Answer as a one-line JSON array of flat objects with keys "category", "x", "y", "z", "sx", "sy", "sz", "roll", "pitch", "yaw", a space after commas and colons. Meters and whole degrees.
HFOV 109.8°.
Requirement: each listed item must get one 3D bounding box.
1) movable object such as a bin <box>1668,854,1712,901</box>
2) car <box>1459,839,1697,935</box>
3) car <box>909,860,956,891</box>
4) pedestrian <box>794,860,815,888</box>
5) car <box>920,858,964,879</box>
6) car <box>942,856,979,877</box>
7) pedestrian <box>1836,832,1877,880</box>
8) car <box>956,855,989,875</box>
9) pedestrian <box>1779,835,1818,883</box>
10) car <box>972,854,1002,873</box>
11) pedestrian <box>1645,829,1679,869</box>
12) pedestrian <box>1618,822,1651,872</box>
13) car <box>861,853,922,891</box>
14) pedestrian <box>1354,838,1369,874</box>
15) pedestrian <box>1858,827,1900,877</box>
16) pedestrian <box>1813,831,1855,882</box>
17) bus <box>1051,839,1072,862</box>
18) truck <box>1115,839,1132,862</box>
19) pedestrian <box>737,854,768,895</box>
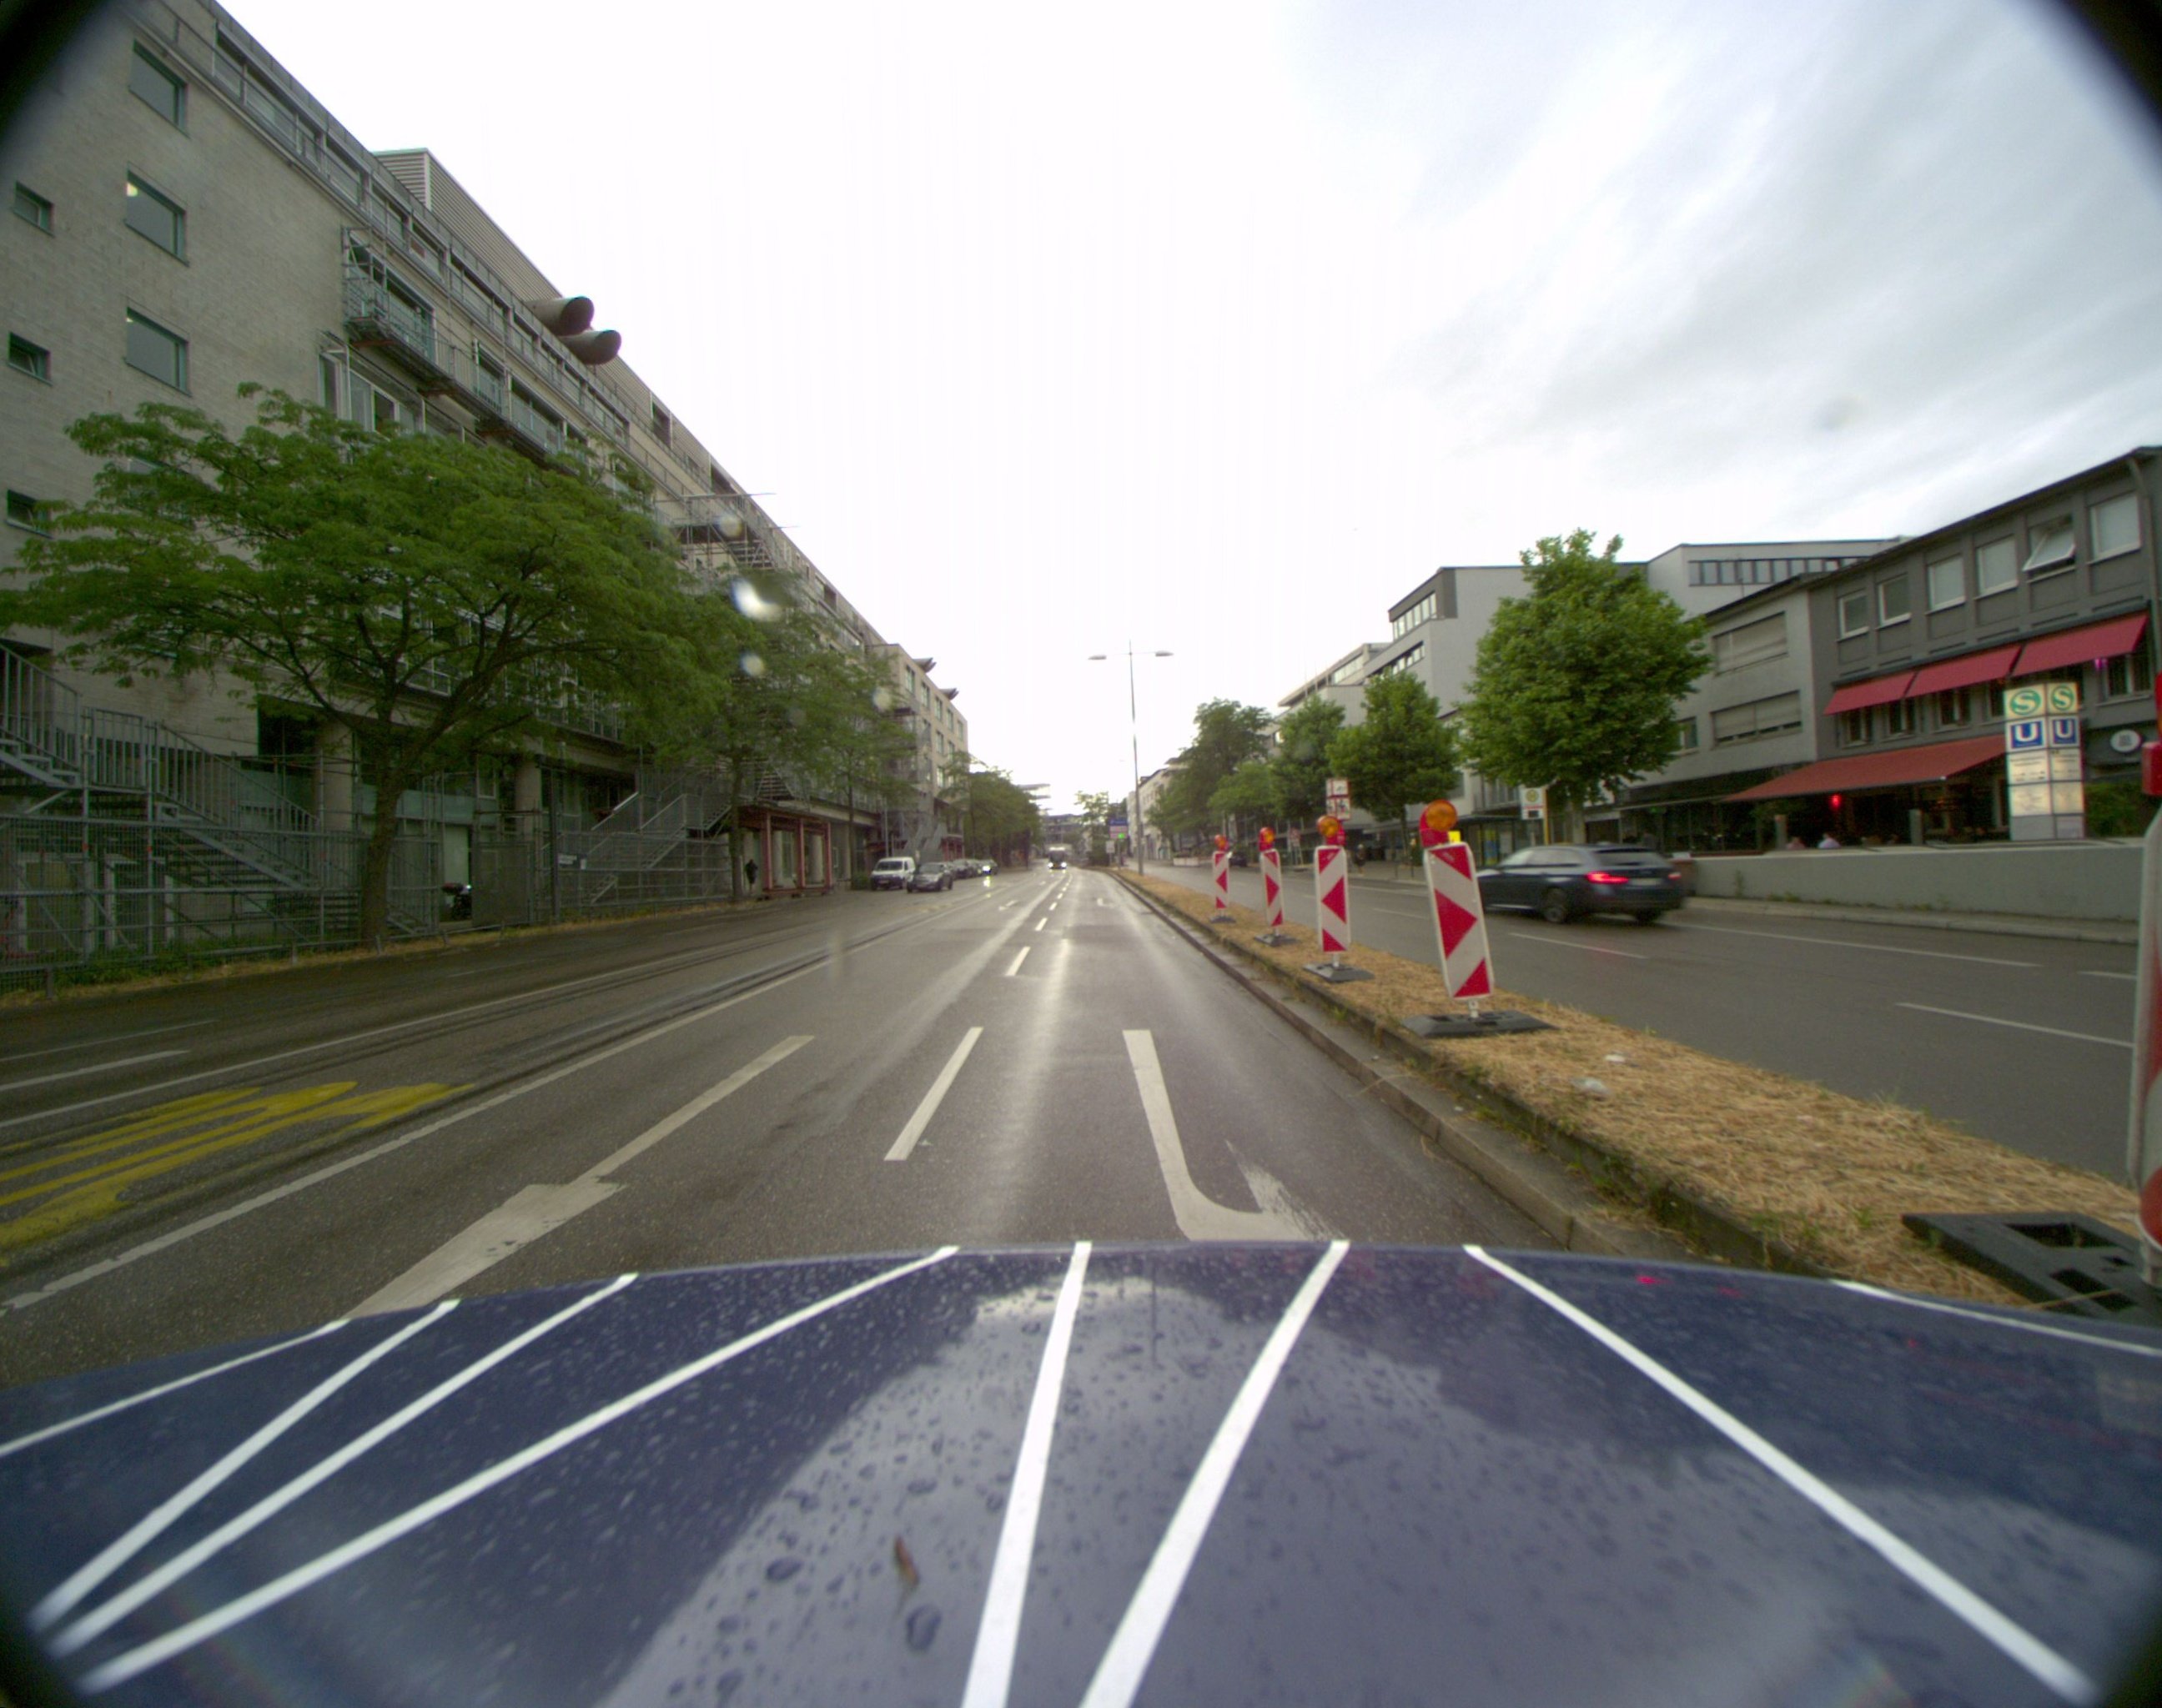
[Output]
[{"category": "movable object such as a bin", "x": 14.557, "y": 0.553, "z": 18.170, "sx": 0.507, "sy": 1.094, "sz": 0.660, "roll": -2, "pitch": 1, "yaw": -2}, {"category": "car", "x": 9.483, "y": 0.532, "z": 15.017, "sx": 1.692, "sy": 1.545, "sz": 4.419, "roll": -2, "pitch": 1, "yaw": -2}, {"category": "car", "x": -7.416, "y": 1.042, "z": 38.151, "sx": 1.744, "sy": 1.447, "sz": 3.720, "roll": -2, "pitch": 0, "yaw": -3}, {"category": "pedestrian", "x": -18.391, "y": 1.301, "z": 50.552, "sx": 1.010, "sy": 1.789, "sz": 0.846, "roll": -2, "pitch": 1, "yaw": -3}, {"category": "car", "x": -9.901, "y": 1.007, "z": 54.422, "sx": 2.147, "sy": 1.329, "sz": 4.816, "roll": -2, "pitch": 1, "yaw": 0}, {"category": "car", "x": -9.631, "y": 0.980, "z": 61.221, "sx": 2.147, "sy": 1.486, "sz": 4.816, "roll": -2, "pitch": 1, "yaw": 0}, {"category": "pedestrian", "x": 25.025, "y": 0.069, "z": 24.514, "sx": 0.669, "sy": 1.520, "sz": 0.611, "roll": -2, "pitch": 1, "yaw": 4}, {"category": "car", "x": -9.472, "y": 0.940, "z": 66.690, "sx": 2.147, "sy": 1.552, "sz": 4.816, "roll": -2, "pitch": 1, "yaw": 0}, {"category": "pedestrian", "x": 23.340, "y": 0.164, "z": 24.713, "sx": 0.669, "sy": 1.520, "sz": 0.611, "roll": -2, "pitch": 1, "yaw": 3}, {"category": "car", "x": -8.901, "y": 0.899, "z": 72.427, "sx": 2.147, "sy": 1.637, "sz": 4.816, "roll": -2, "pitch": 1, "yaw": 0}, {"category": "pedestrian", "x": 23.314, "y": -0.213, "z": 30.494, "sx": 0.774, "sy": 1.556, "sz": 0.767, "roll": -2, "pitch": 1, "yaw": 8}, {"category": "pedestrian", "x": 22.453, "y": -0.283, "z": 30.816, "sx": 0.774, "sy": 2.002, "sz": 0.767, "roll": -2, "pitch": 1, "yaw": 8}, {"category": "car", "x": -10.533, "y": 0.947, "z": 42.657, "sx": 2.213, "sy": 1.895, "sz": 4.329, "roll": -2, "pitch": 1, "yaw": 0}, {"category": "pedestrian", "x": 14.437, "y": 0.112, "z": 39.086, "sx": 0.575, "sy": 1.815, "sz": 0.580, "roll": -2, "pitch": 1, "yaw": 7}, {"category": "pedestrian", "x": 24.984, "y": -0.061, "z": 23.793, "sx": 0.669, "sy": 1.520, "sz": 0.611, "roll": -2, "pitch": 1, "yaw": 3}, {"category": "pedestrian", "x": 23.212, "y": 0.079, "z": 23.433, "sx": 0.669, "sy": 1.520, "sz": 0.611, "roll": -2, "pitch": 1, "yaw": 3}, {"category": "bus", "x": -3.007, "y": -0.559, "z": 120.266, "sx": 2.890, "sy": 3.430, "sz": 9.756, "roll": -2, "pitch": 1, "yaw": 1}, {"category": "truck", "x": 7.095, "y": -0.554, "z": 127.117, "sx": 1.999, "sy": 3.557, "sz": 7.572, "roll": -2, "pitch": 0, "yaw": -2}, {"category": "pedestrian", "x": -16.577, "y": 1.009, "z": 38.363, "sx": 1.009, "sy": 2.002, "sz": 1.039, "roll": -2, "pitch": 1, "yaw": 1}]
